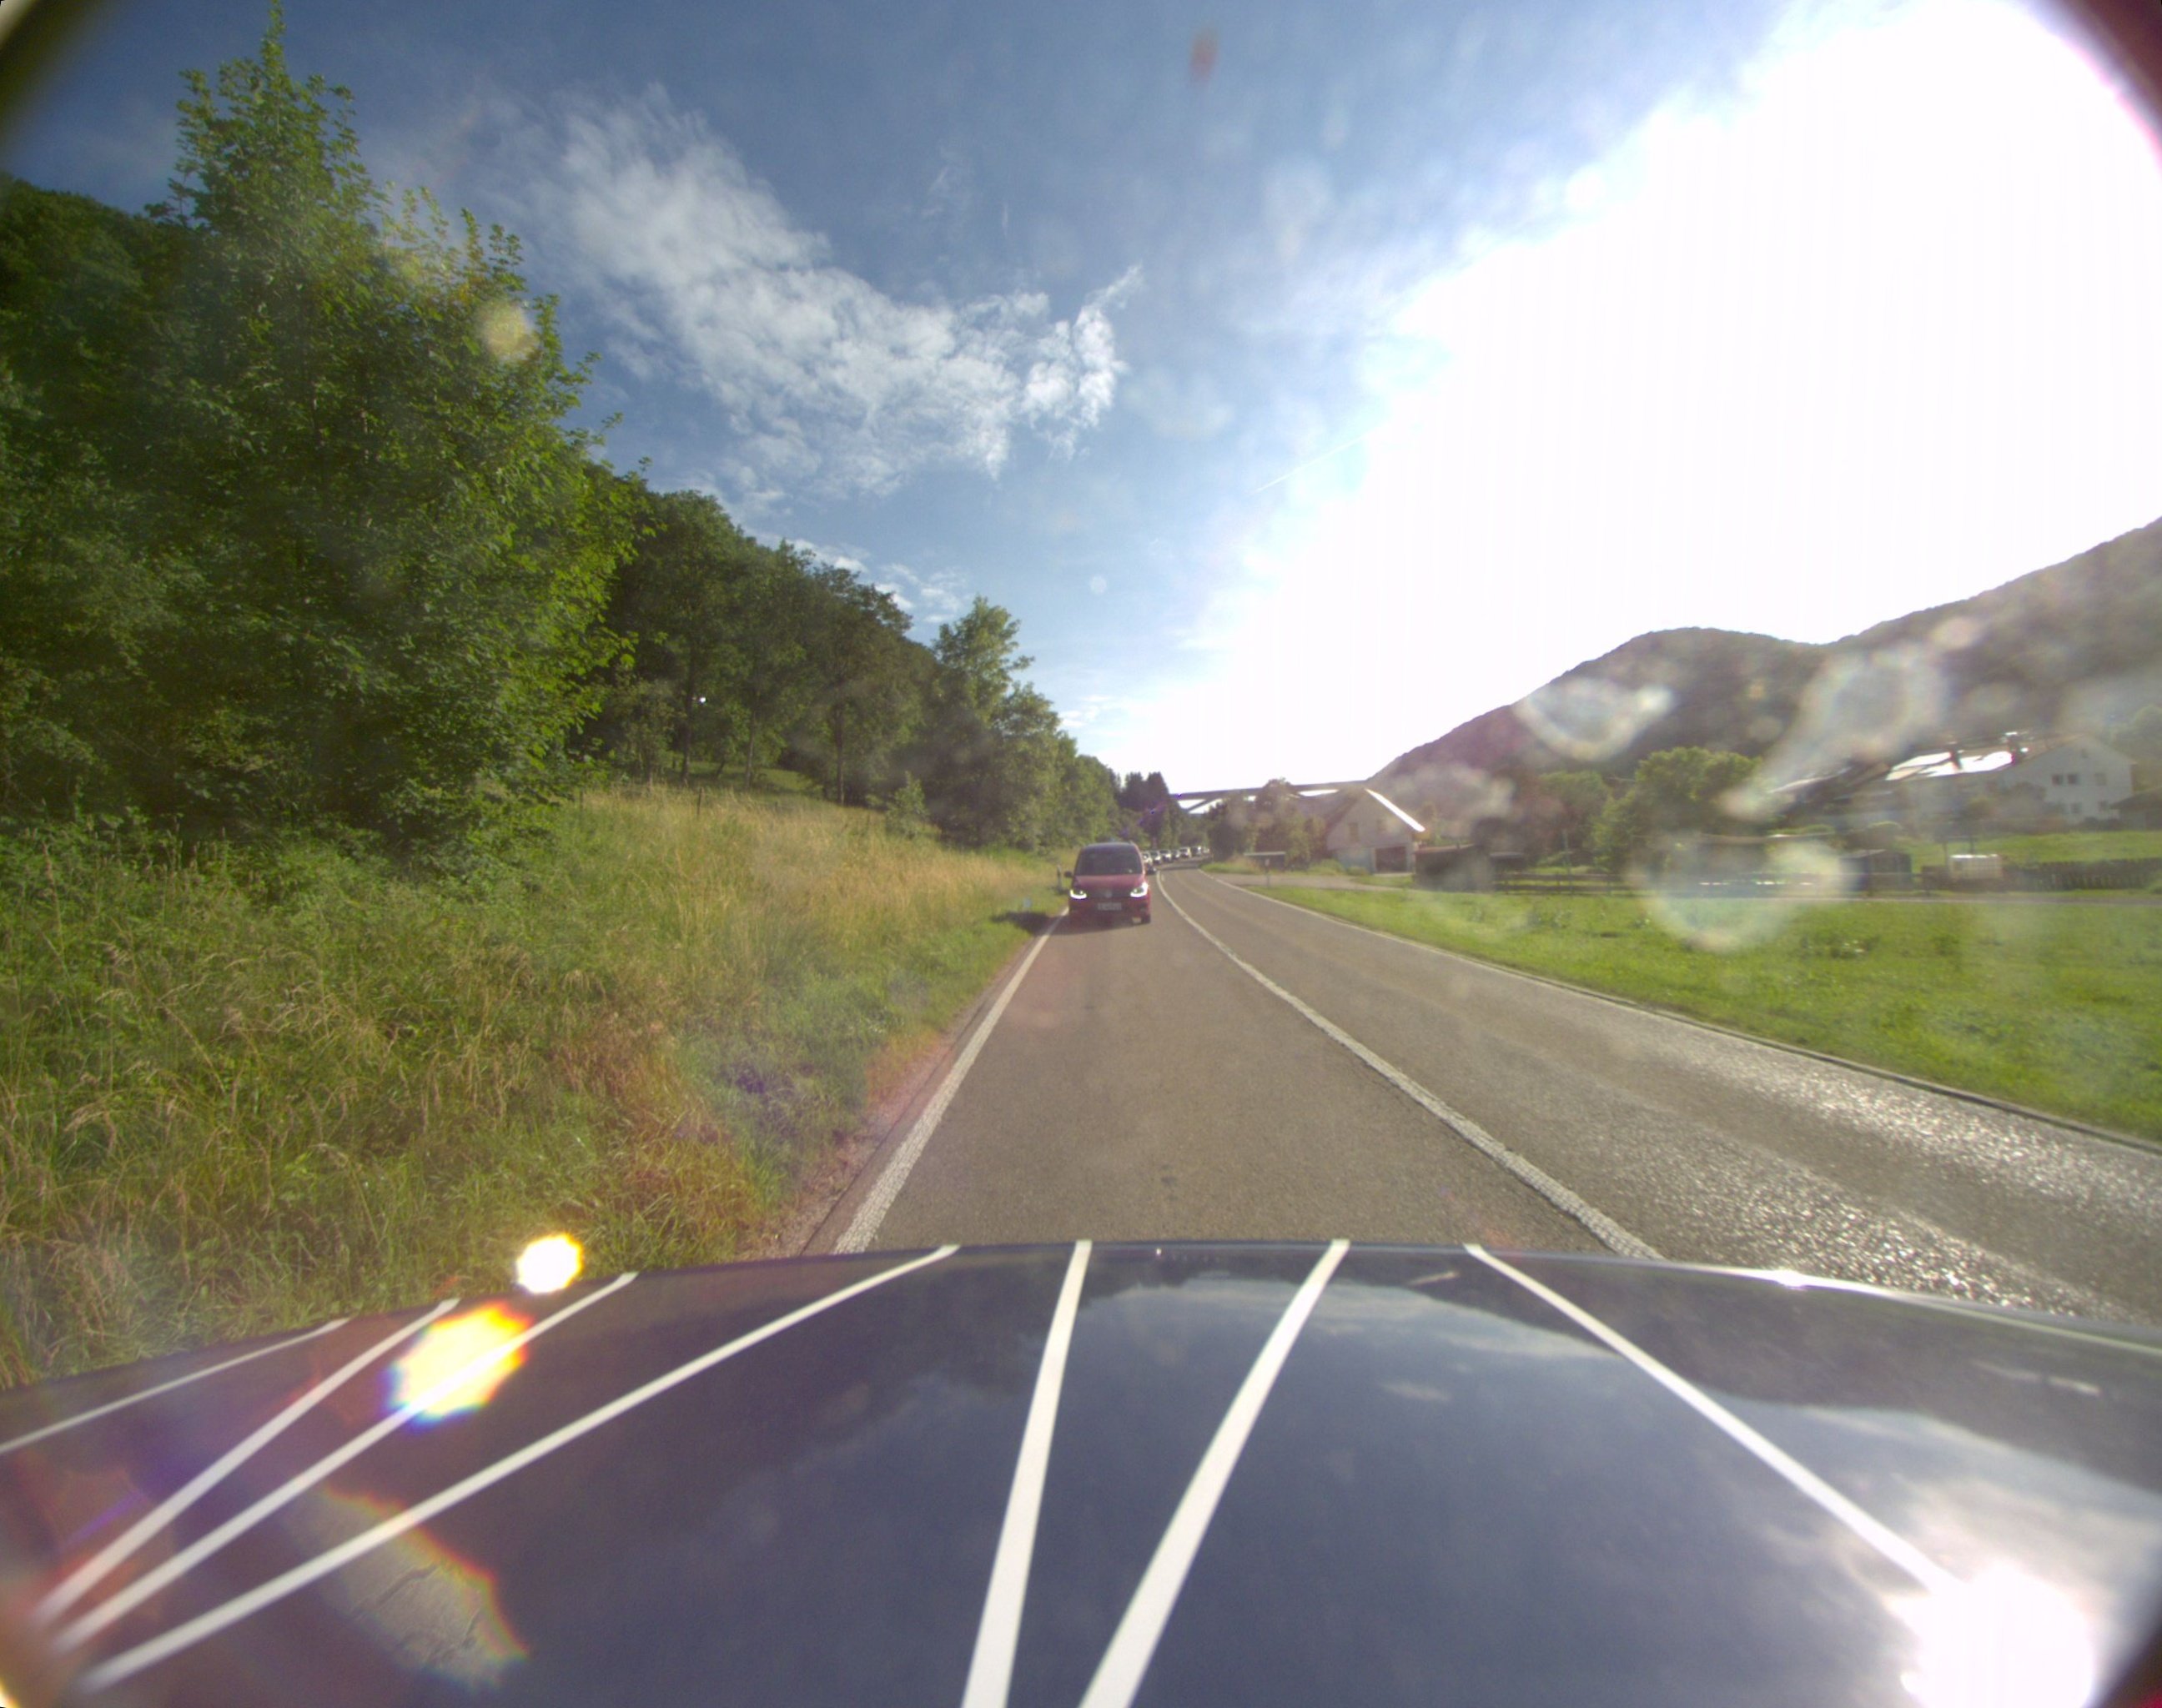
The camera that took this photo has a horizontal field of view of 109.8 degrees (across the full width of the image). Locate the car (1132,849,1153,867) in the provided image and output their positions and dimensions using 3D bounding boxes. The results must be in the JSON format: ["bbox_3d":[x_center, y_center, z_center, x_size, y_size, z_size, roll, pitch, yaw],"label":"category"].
[{"bbox_3d":[5.280,0.317,65.108,1.629,1.470,3.680,-2,1,5],"label":"car"}]

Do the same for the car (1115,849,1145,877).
[{"bbox_3d":[2.877,0.491,44.279,1.629,1.470,3.680,-2,1,5],"label":"car"}]

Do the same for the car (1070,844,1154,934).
[{"bbox_3d":[0.666,0.692,17.344,1.649,1.762,3.999,-2,1,1],"label":"car"}]

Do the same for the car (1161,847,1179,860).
[{"bbox_3d":[10.212,-0.063,87.229,1.630,1.470,3.679,-2,1,1],"label":"car"}]

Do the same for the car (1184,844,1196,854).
[{"bbox_3d":[16.883,-0.763,117.749,1.629,1.470,3.680,-2,1,4],"label":"car"}]

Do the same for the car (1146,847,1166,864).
[{"bbox_3d":[7.257,0.124,74.057,1.630,1.470,3.679,-2,1,1],"label":"car"}]

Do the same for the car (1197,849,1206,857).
[{"bbox_3d":[23.268,-0.237,147.289,1.629,1.470,3.681,-2,1,8],"label":"car"}]
